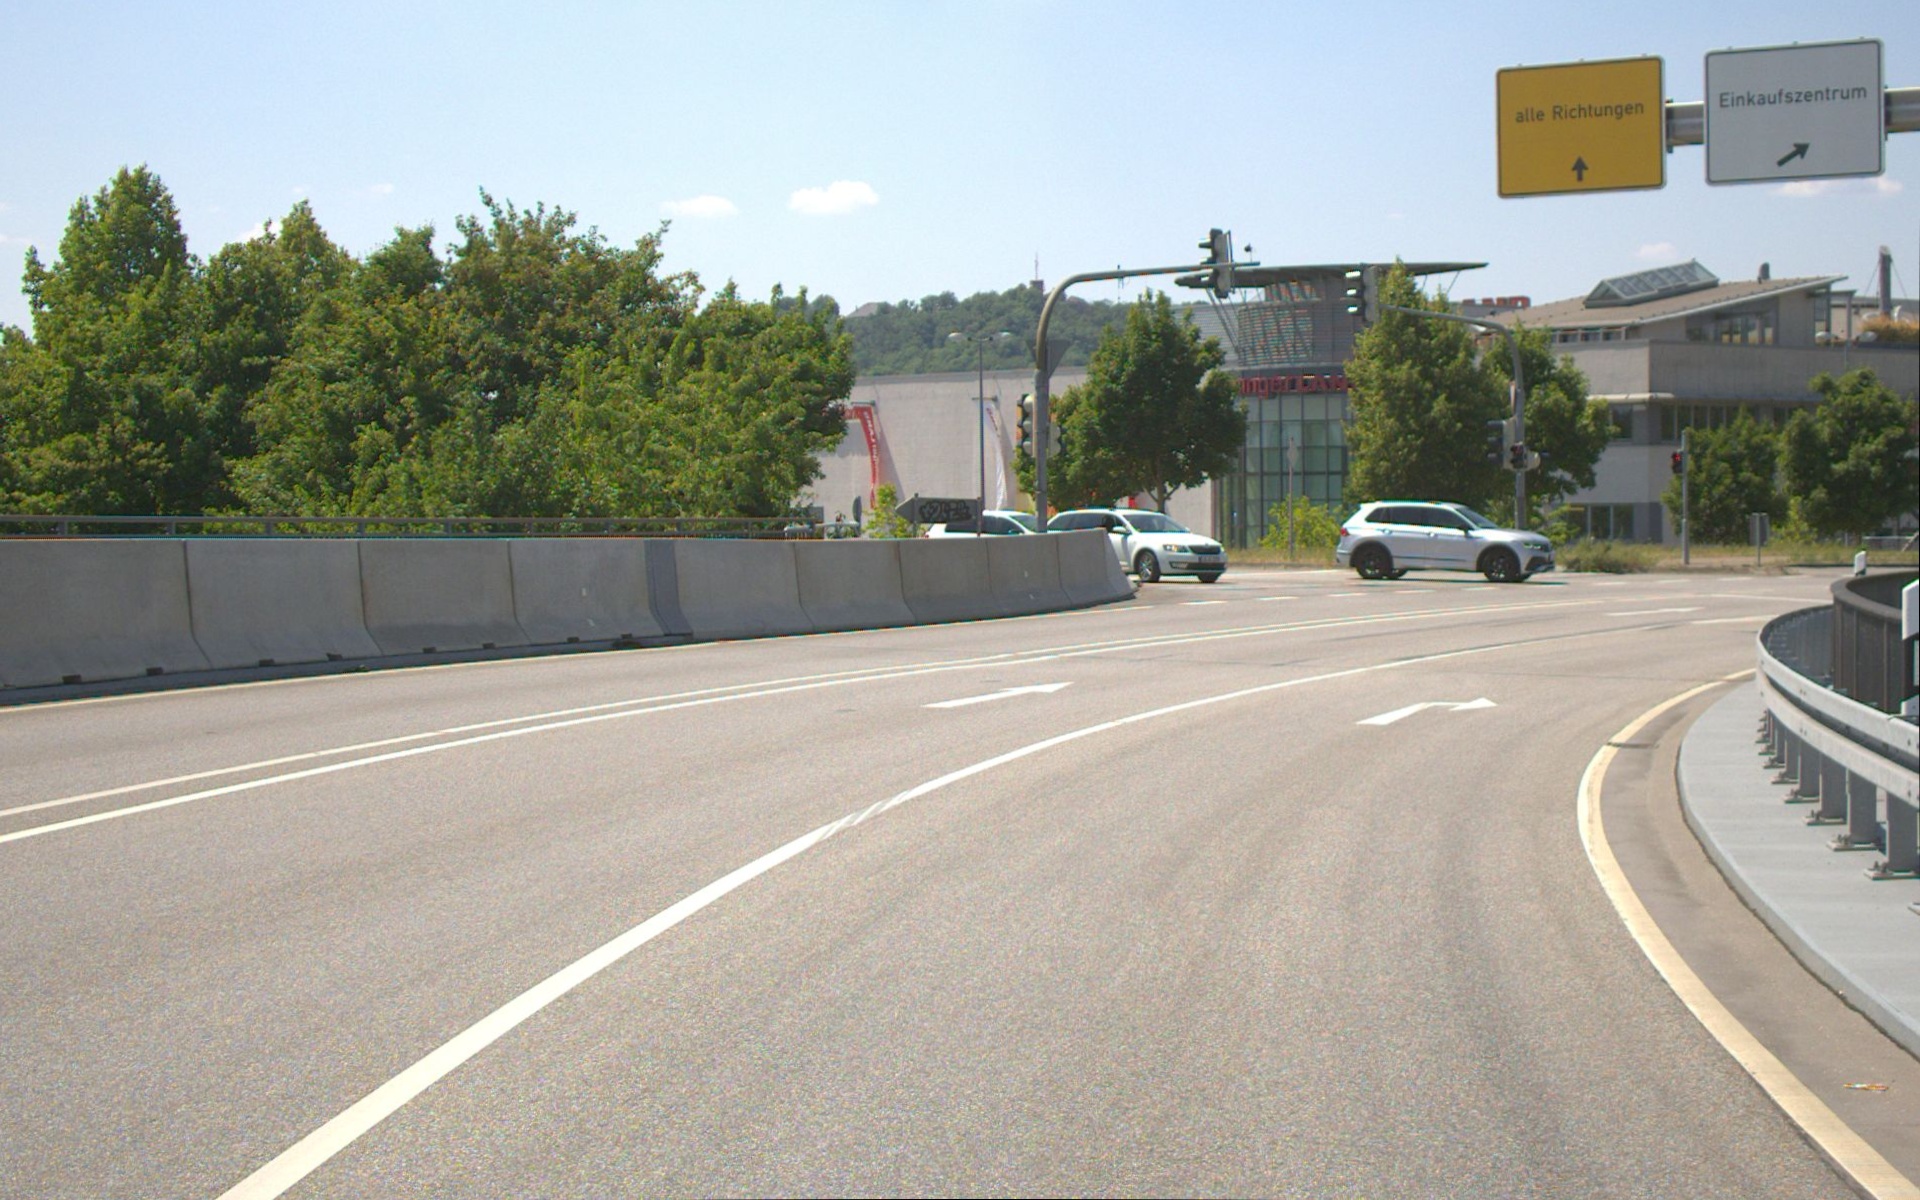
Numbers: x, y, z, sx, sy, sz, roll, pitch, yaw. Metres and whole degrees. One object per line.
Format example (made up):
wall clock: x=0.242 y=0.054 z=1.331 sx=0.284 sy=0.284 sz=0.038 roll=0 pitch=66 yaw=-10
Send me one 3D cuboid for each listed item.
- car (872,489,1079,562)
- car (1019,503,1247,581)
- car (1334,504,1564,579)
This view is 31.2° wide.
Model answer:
car: x=0.340 y=-1.680 z=76.760 sx=4.129 sy=1.481 sz=1.997 roll=3 pitch=3 yaw=29
car: x=3.422 y=-1.188 z=68.680 sx=1.788 sy=1.490 sz=4.549 roll=-1 pitch=2 yaw=-43
car: x=10.169 y=-1.202 z=71.467 sx=4.386 sy=1.500 sz=1.998 roll=0 pitch=1 yaw=21
